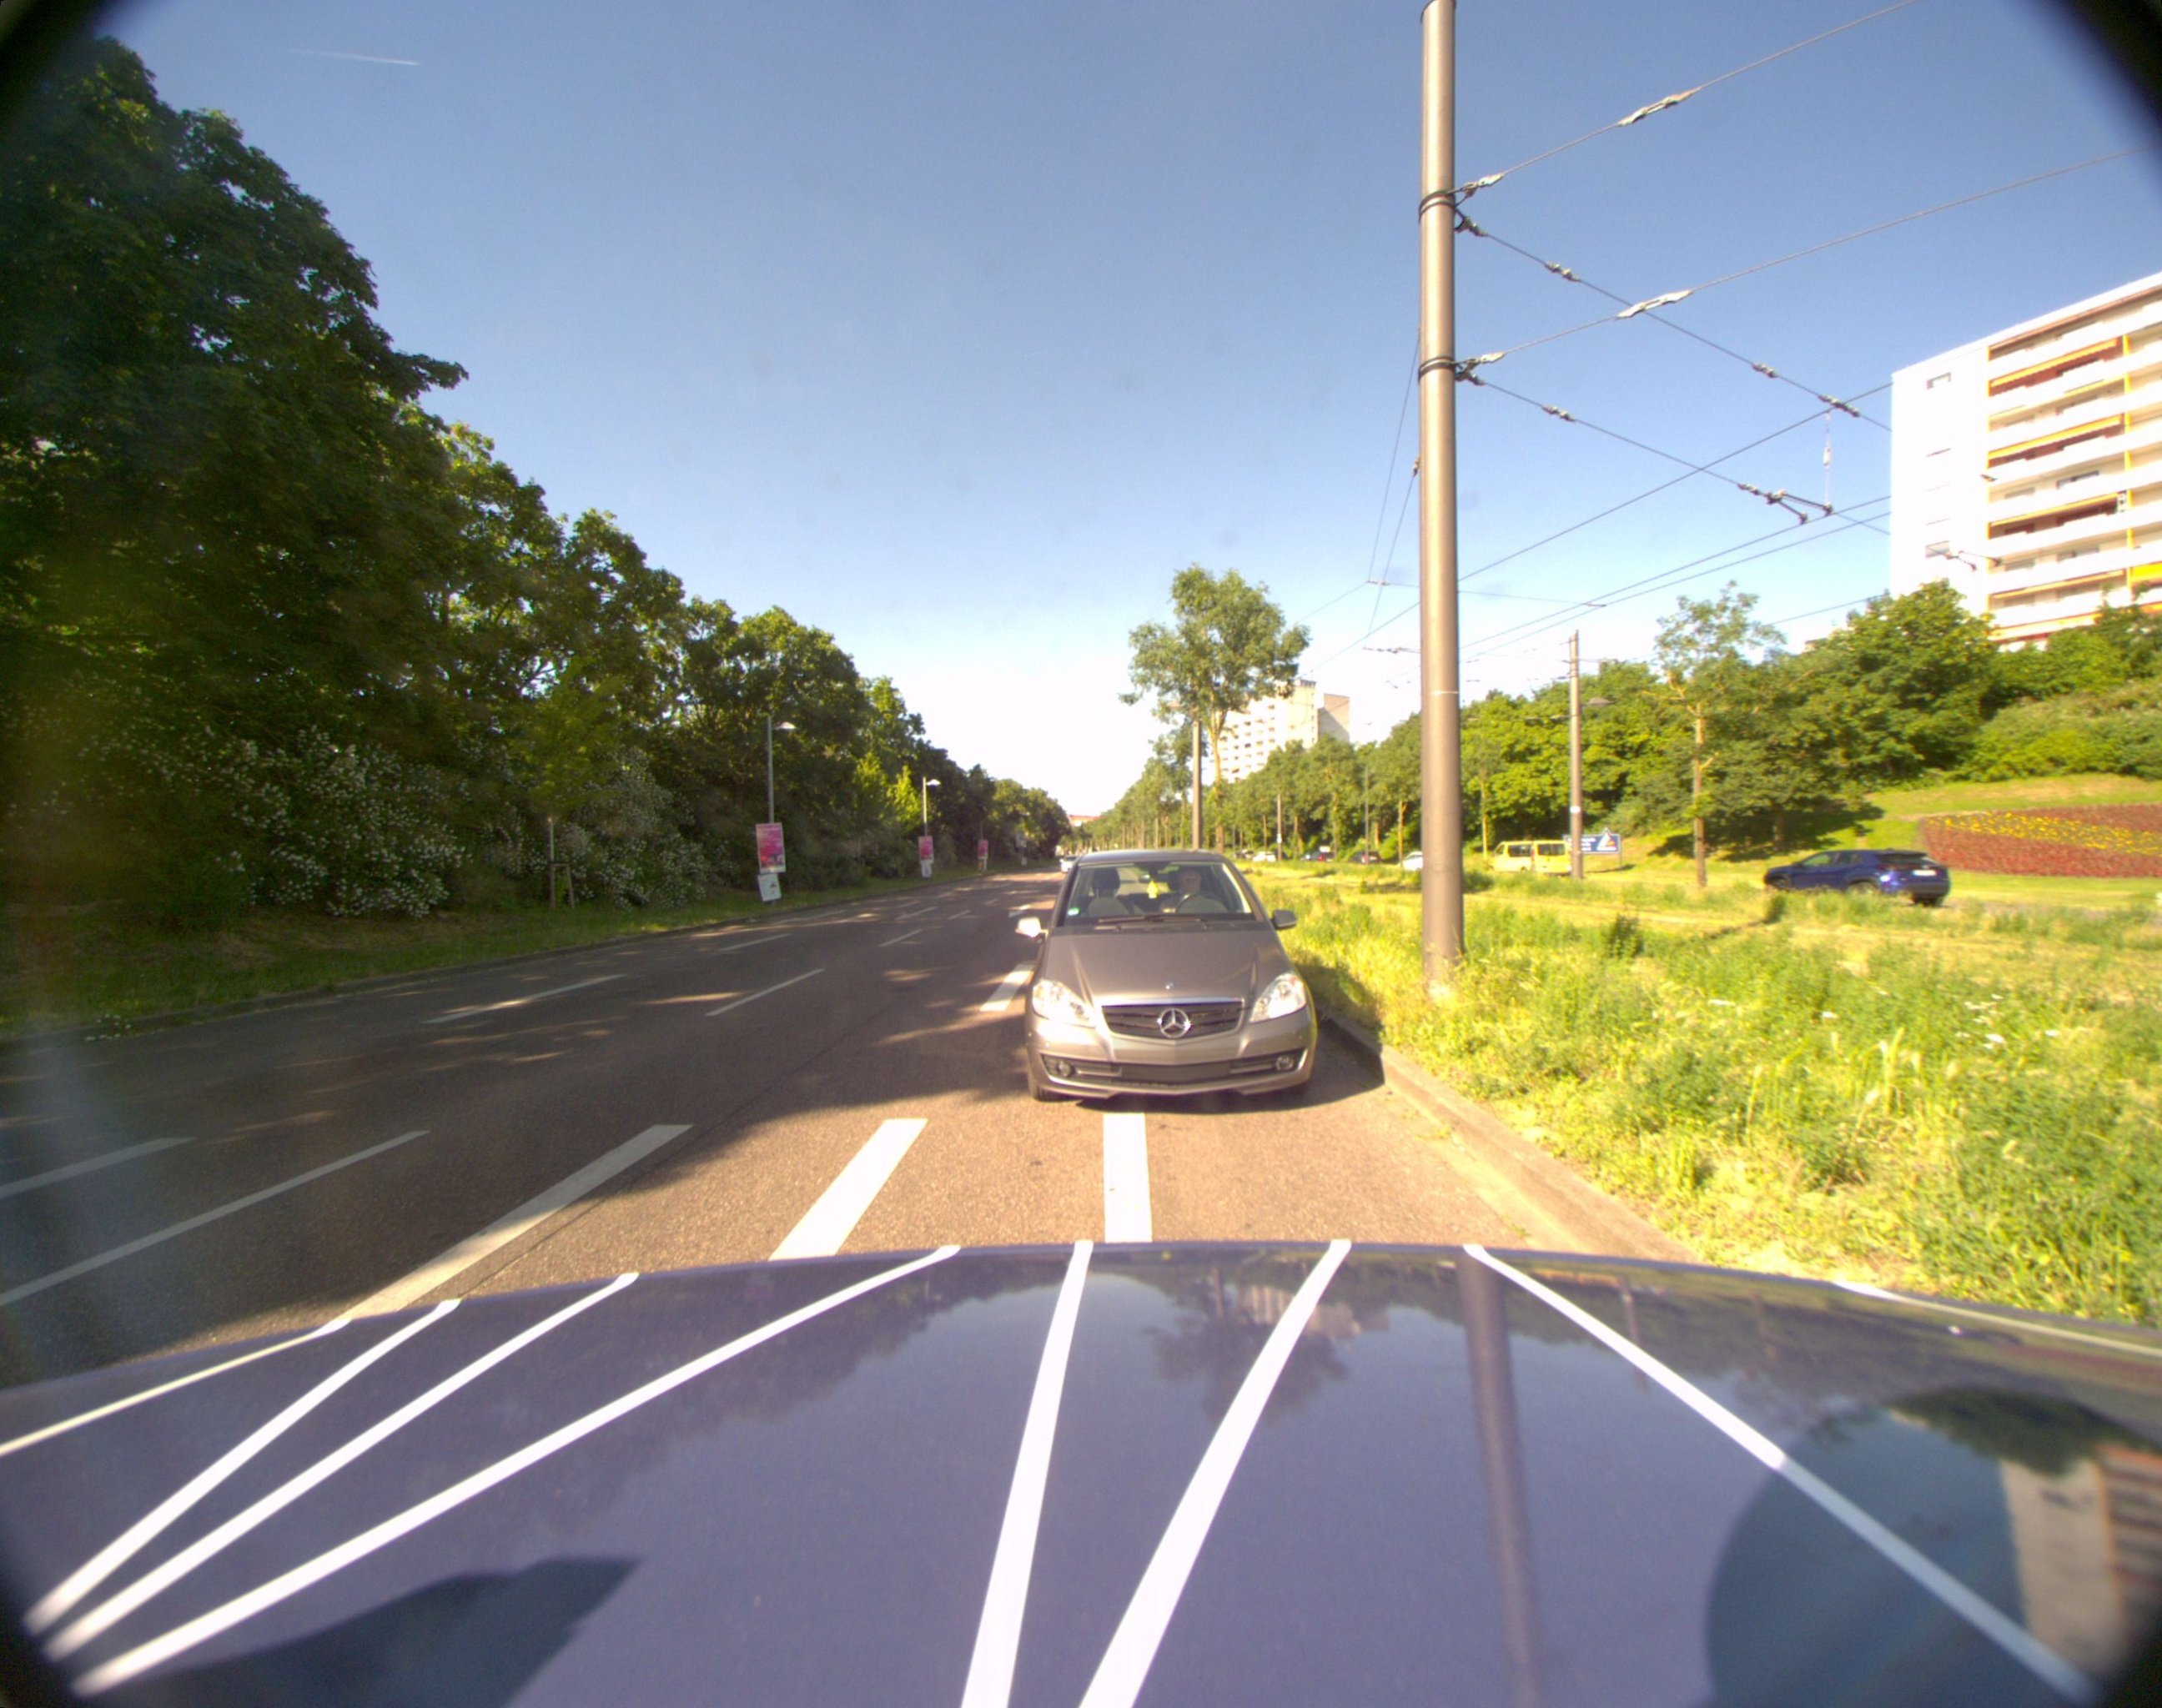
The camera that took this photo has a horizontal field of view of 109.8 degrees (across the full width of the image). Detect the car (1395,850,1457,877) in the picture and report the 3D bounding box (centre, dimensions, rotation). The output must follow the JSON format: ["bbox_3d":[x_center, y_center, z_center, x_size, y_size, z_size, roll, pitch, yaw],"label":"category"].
[{"bbox_3d":[19.125,0.528,42.303,1.693,1.399,4.021,-2,0,1],"label":"car"}]

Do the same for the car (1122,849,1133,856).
[{"bbox_3d":[12.586,-0.451,207.436,2.000,2.002,3.996,-1,0,-11],"label":"car"}]

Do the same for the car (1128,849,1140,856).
[{"bbox_3d":[13.913,-0.429,198.977,1.911,1.652,3.995,-1,0,-14],"label":"car"}]

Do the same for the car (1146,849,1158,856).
[{"bbox_3d":[17.508,-0.437,187.048,1.911,1.652,3.995,-1,0,-13],"label":"car"}]

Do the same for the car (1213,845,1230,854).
[{"bbox_3d":[22.378,-0.689,121.269,1.998,1.477,4.000,-1,0,1],"label":"car"}]

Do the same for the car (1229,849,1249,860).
[{"bbox_3d":[20.039,0.095,96.430,1.825,1.353,4.230,-1,0,3],"label":"car"}]

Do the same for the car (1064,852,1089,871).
[{"bbox_3d":[-0.308,0.596,62.661,1.875,1.428,4.594,-1,0,2],"label":"car"}]

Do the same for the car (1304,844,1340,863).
[{"bbox_3d":[19.482,-0.042,61.632,1.799,1.408,4.311,-1,0,4],"label":"car"}]

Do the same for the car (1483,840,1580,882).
[{"bbox_3d":[22.318,0.350,37.898,1.998,1.955,4.907,0,0,1],"label":"car"}]

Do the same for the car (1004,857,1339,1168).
[{"bbox_3d":[0.509,0.856,5.988,1.759,1.612,3.880,-1,0,1],"label":"car"}]

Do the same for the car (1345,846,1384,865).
[{"bbox_3d":[22.870,0.124,61.400,1.792,1.499,4.242,-1,0,4],"label":"car"}]

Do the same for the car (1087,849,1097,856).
[{"bbox_3d":[3.604,-0.510,248.712,1.944,2.002,3.994,-1,0,-17],"label":"car"}]

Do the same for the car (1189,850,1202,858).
[{"bbox_3d":[21.407,-0.078,142.288,1.802,1.455,4.000,-1,0,1],"label":"car"}]

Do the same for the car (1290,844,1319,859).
[{"bbox_3d":[23.041,-0.277,78.363,1.867,1.410,4.000,-1,0,2],"label":"car"}]

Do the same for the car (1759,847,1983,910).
[{"bbox_3d":[21.701,0.614,21.169,1.998,1.565,4.106,-1,0,1],"label":"car"}]

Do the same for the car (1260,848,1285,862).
[{"bbox_3d":[20.331,0.083,80.745,1.867,1.410,4.000,-1,0,3],"label":"car"}]

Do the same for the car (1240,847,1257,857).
[{"bbox_3d":[22.823,-0.284,103.654,1.740,1.368,4.001,-1,0,4],"label":"car"}]

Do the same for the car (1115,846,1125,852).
[{"bbox_3d":[11.286,-1.363,221.418,1.884,1.755,3.995,-1,0,-14],"label":"car"}]

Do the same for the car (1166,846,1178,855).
[{"bbox_3d":[17.797,-0.673,148.222,1.882,1.755,4.000,-1,0,1],"label":"car"}]
